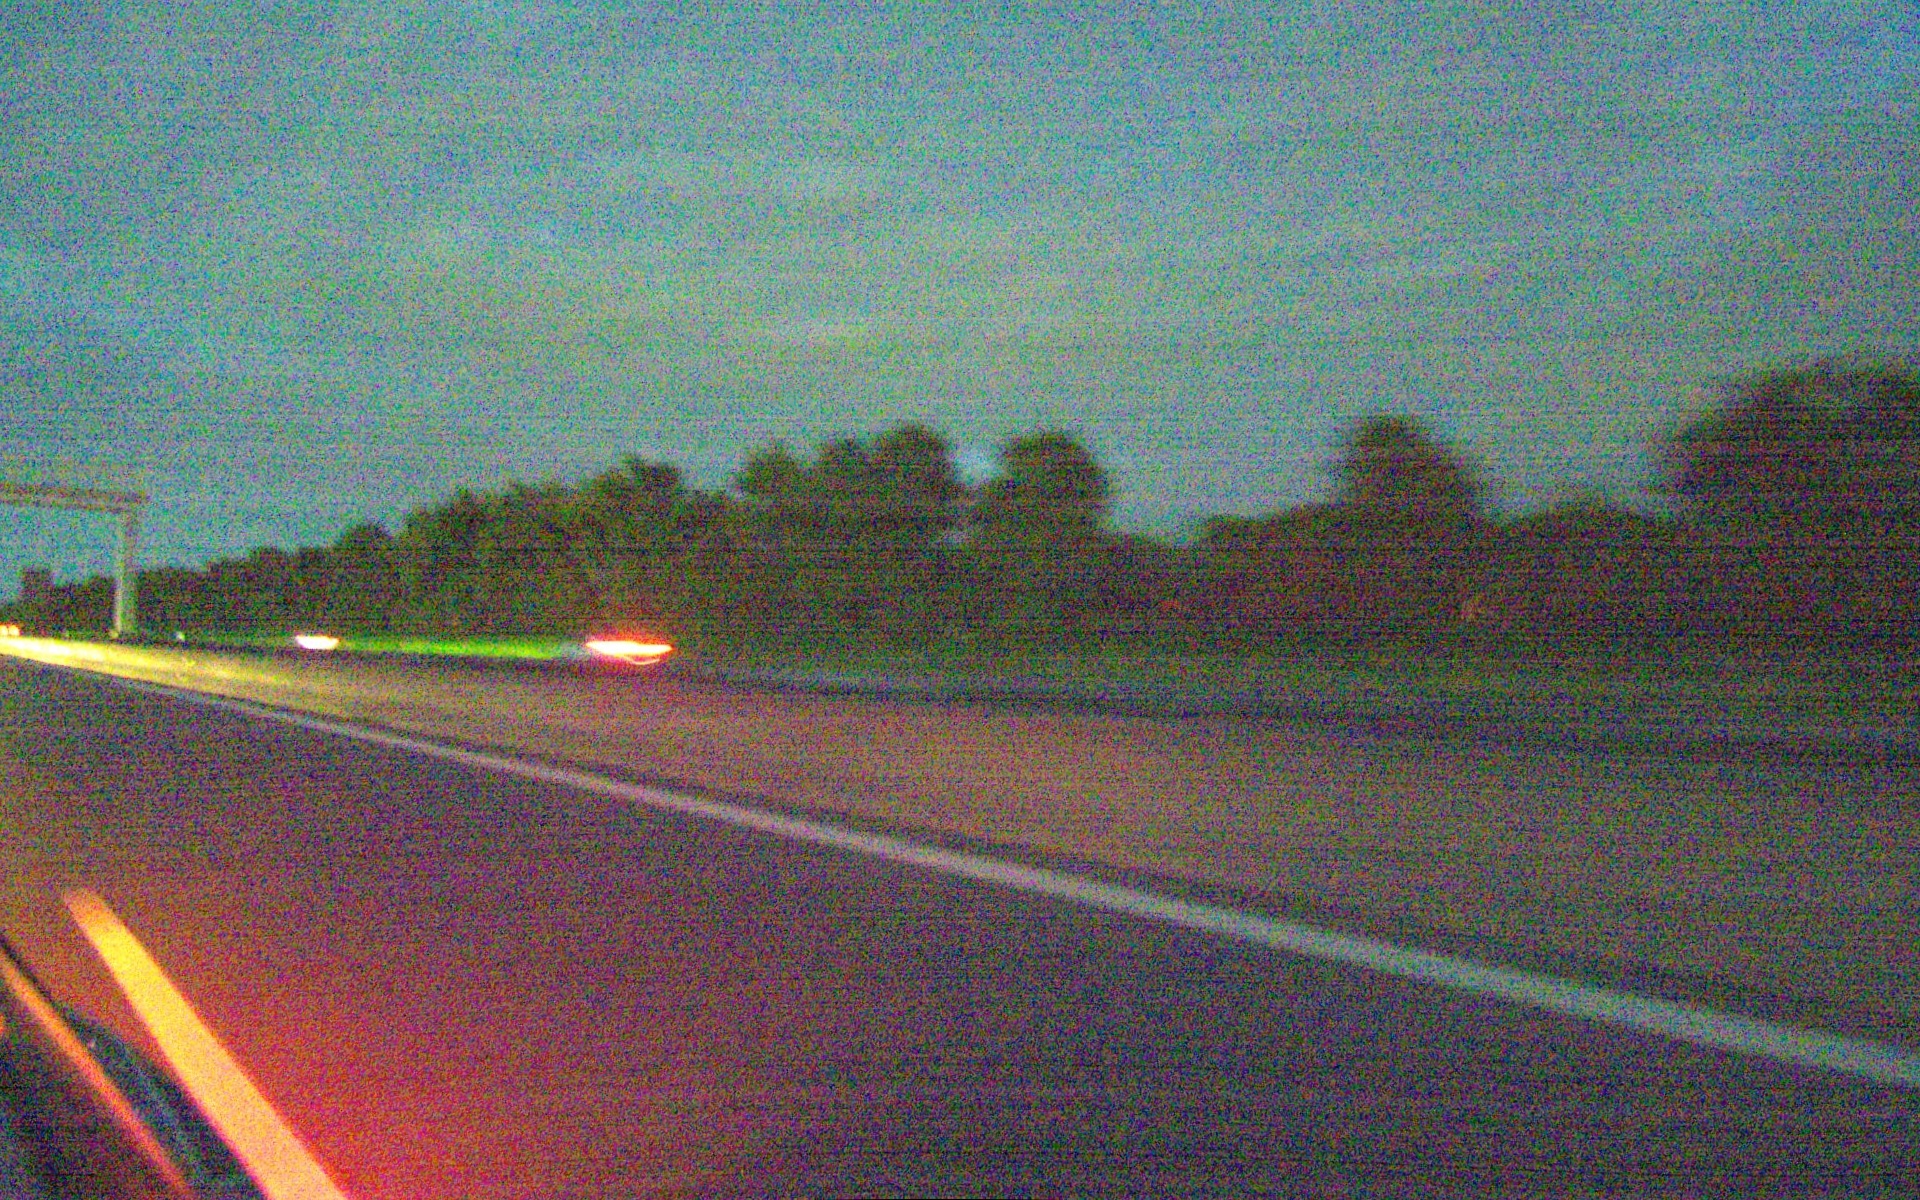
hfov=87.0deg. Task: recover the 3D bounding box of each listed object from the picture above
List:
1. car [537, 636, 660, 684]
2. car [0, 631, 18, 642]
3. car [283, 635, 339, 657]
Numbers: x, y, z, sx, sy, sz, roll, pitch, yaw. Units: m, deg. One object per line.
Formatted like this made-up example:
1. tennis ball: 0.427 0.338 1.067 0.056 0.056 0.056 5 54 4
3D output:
1. car: -12.926 2.078 36.024 5.185 1.549 1.942 -2 -3 43
2. car: -146.452 5.593 155.644 4.402 1.630 1.883 -2 -3 41
3. car: -39.777 2.782 61.988 4.349 1.292 1.882 -2 -3 43
